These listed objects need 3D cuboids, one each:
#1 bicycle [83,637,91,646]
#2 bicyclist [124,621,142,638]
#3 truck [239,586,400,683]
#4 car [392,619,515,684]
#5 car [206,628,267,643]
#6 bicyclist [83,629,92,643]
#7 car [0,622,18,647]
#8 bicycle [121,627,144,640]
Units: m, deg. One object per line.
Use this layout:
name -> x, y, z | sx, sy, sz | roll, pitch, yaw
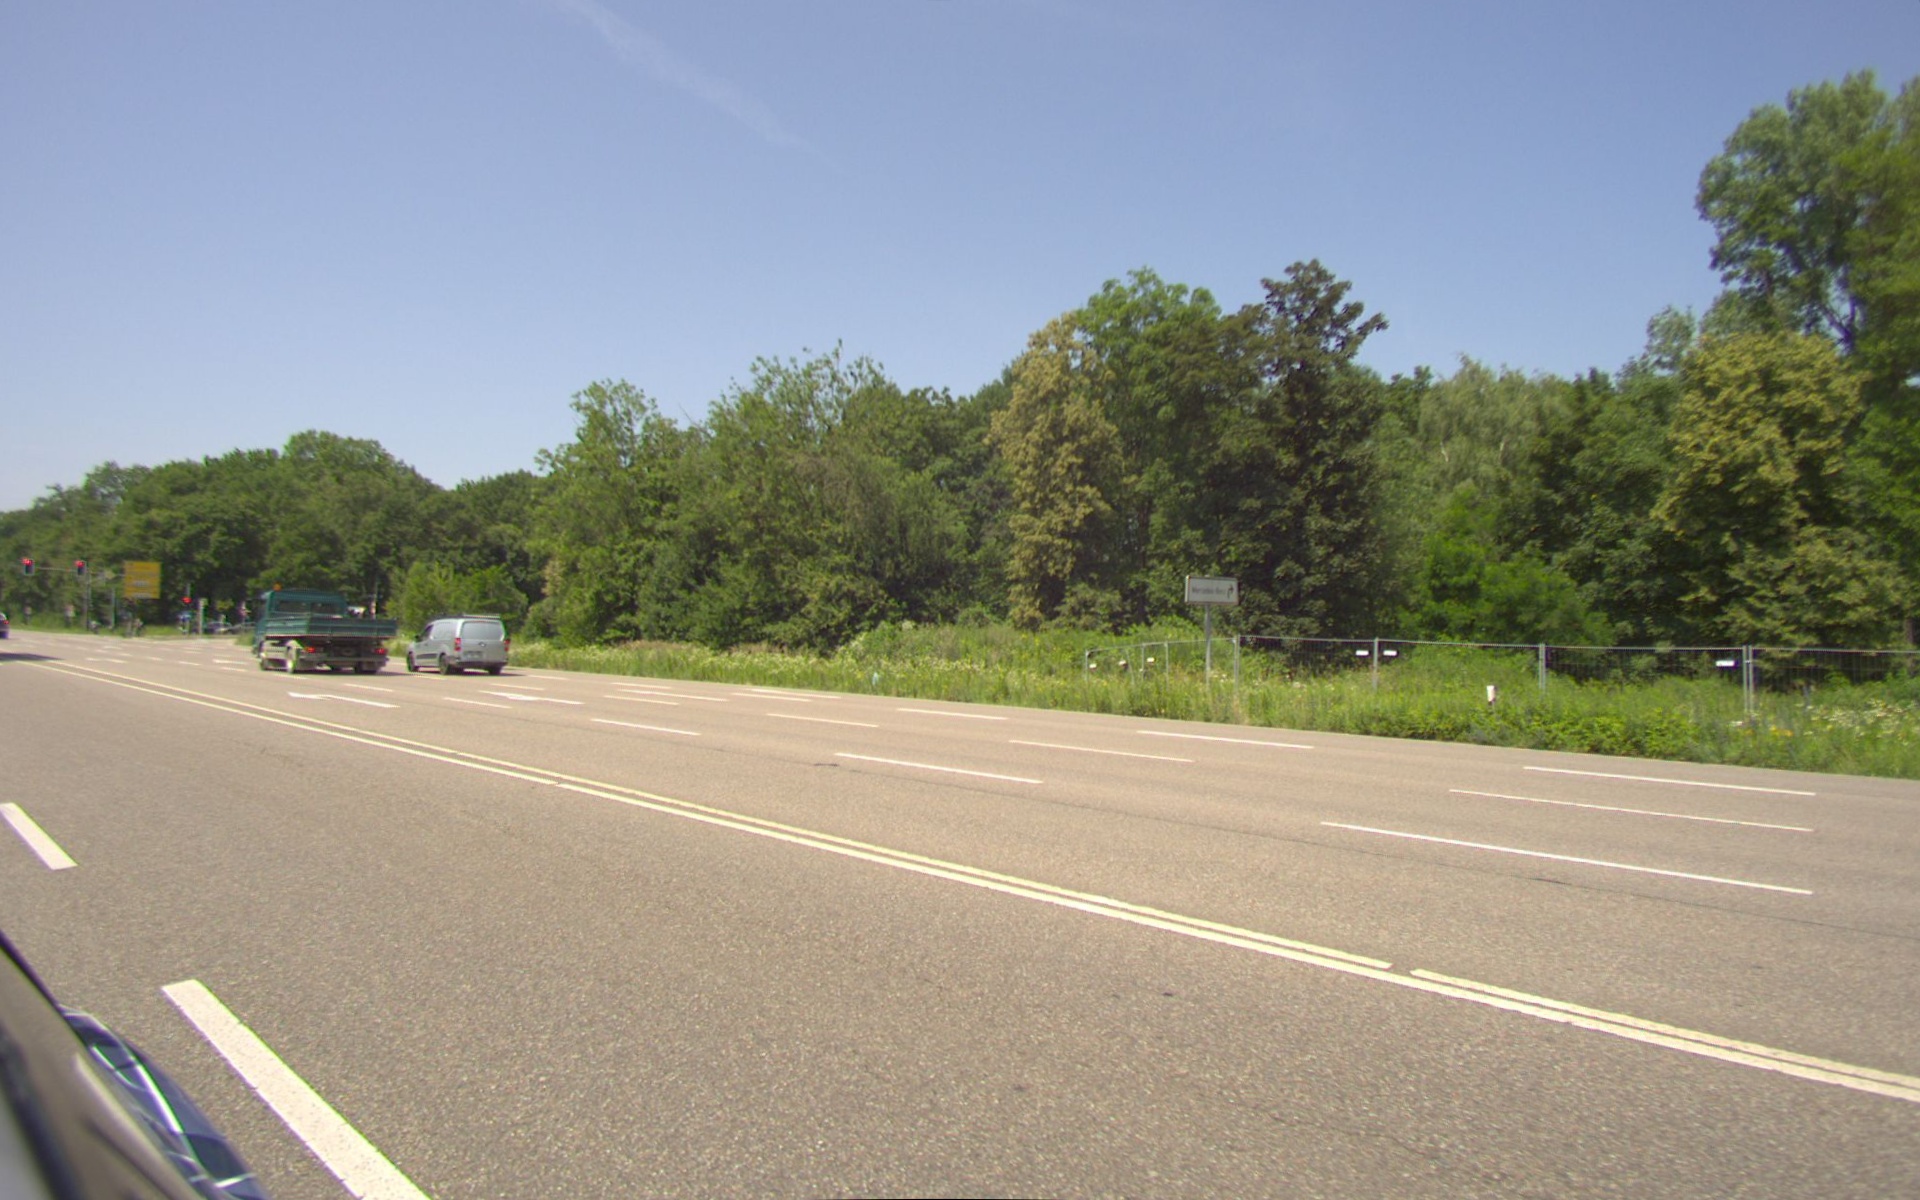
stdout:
bicycle -> -91.407, 4.375, 106.002 | 0.558, 0.930, 1.608 | 2, -3, -39
bicyclist -> -70.197, 2.512, 85.882 | 0.911, 1.471, 0.718 | 1, -2, -11
truck -> -19.843, 1.091, 31.212 | 6.489, 2.677, 2.428 | -2, -5, 42
car -> -16.711, 1.677, 33.309 | 4.820, 1.981, 1.972 | -1, -5, 43
car -> -73.855, 3.638, 103.380 | 1.860, 1.530, 4.756 | -1, -3, 40
bicyclist -> -91.423, 3.785, 106.040 | 0.651, 1.476, 0.811 | 3, -3, -39
car -> -67.811, 2.381, 71.014 | 5.364, 1.691, 1.972 | -1, -4, 43
bicycle -> -70.202, 2.833, 85.889 | 0.712, 1.071, 1.873 | 1, -2, -11
